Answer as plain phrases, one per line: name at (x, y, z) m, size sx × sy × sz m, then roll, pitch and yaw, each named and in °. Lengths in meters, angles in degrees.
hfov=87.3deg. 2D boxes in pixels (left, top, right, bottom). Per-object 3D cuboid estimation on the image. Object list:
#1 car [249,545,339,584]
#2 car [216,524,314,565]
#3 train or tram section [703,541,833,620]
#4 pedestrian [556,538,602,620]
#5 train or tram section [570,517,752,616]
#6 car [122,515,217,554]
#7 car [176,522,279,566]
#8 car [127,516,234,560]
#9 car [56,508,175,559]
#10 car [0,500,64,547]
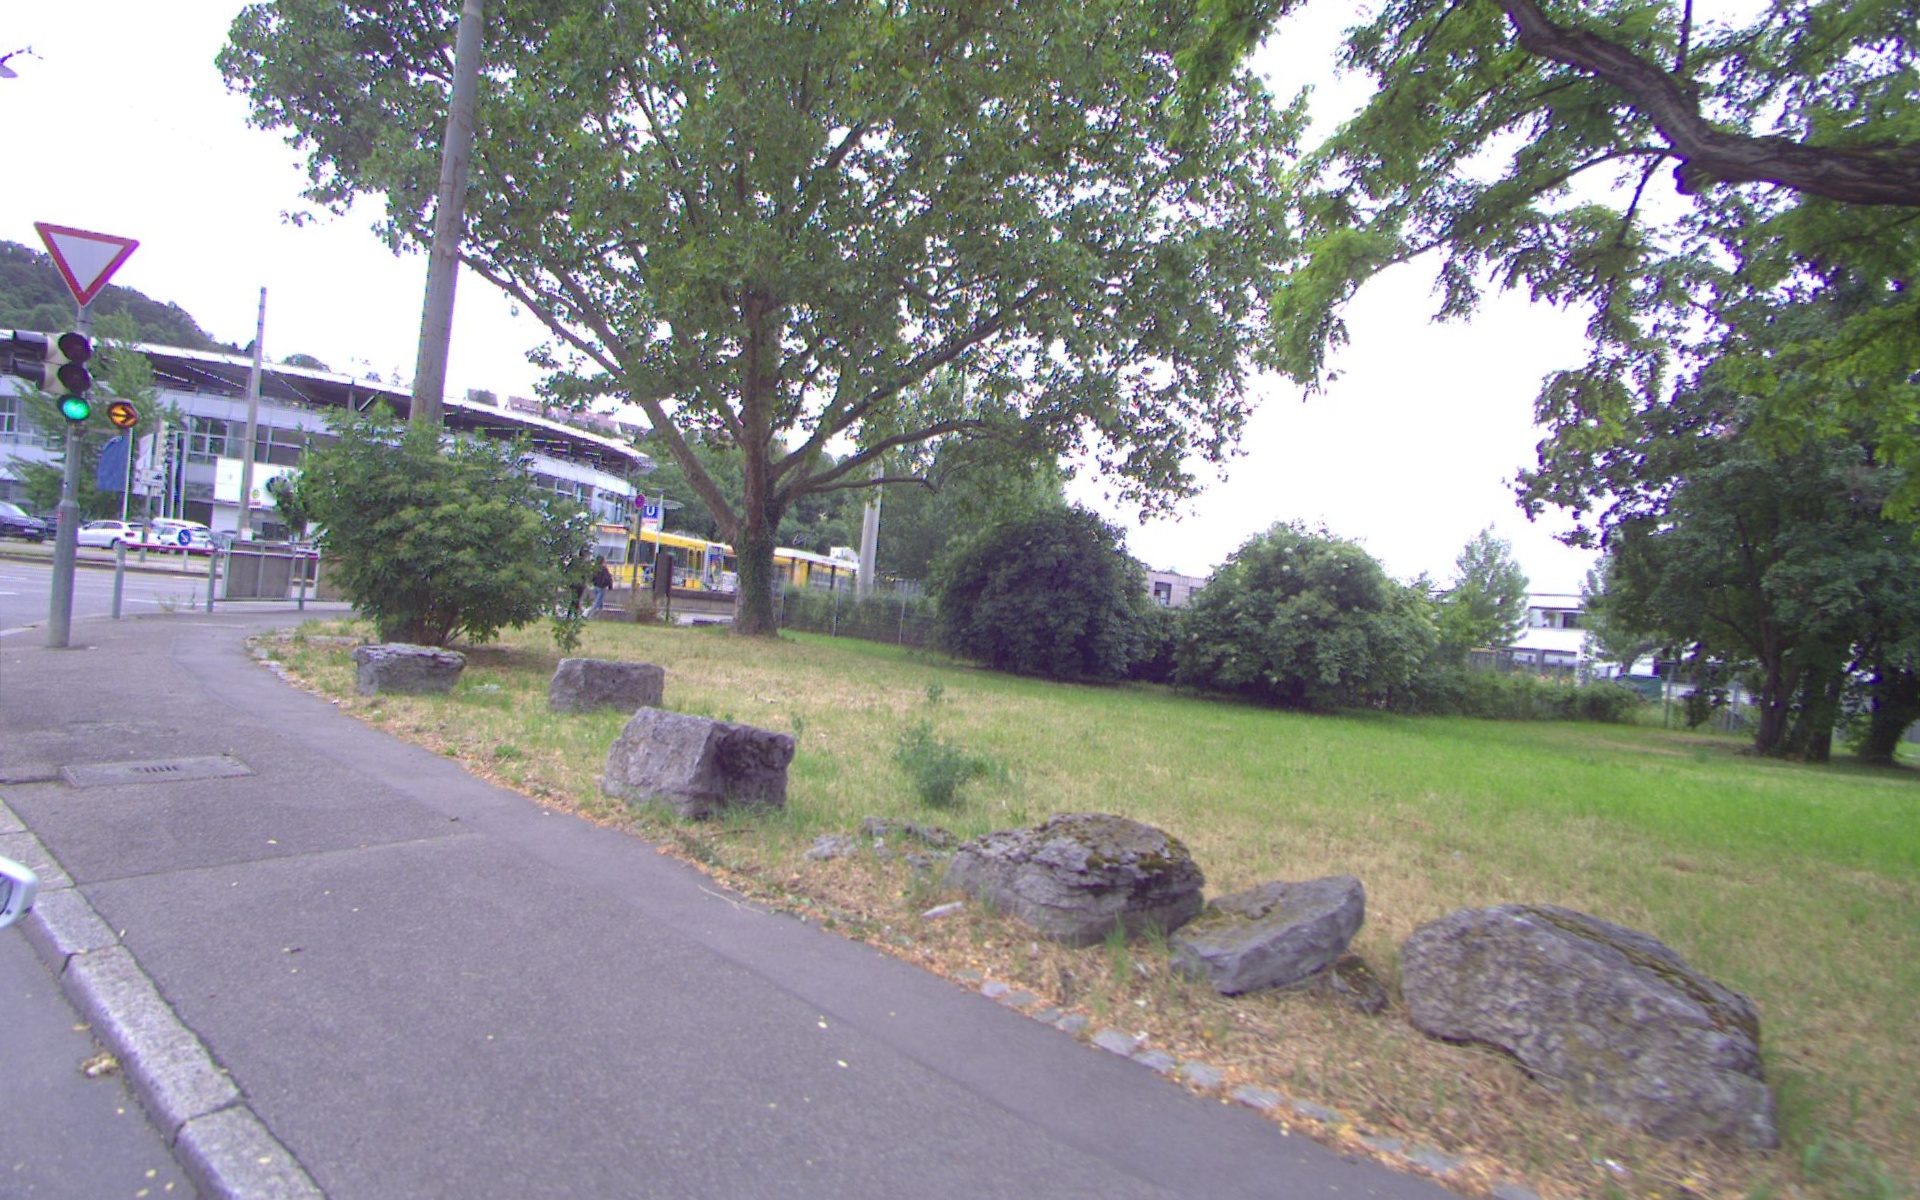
car at (-36.984, -1.966, 55.929) m, size 3.923 × 1.570 × 1.733 m, roll 6°, pitch -4°, yaw 10°
car at (-37.045, -2.941, 53.637) m, size 3.923 × 1.570 × 1.932 m, roll 6°, pitch -4°, yaw 10°
train or tram section at (-11.463, -0.997, 61.896) m, size 2.697 × 4.016 × 11.914 m, roll 6°, pitch 0°, yaw 15°
pedestrian at (-9.312, -0.507, 24.614) m, size 0.593 × 1.890 × 0.672 m, roll 6°, pitch -1°, yaw 16°
train or tram section at (-14.470, -1.402, 50.336) m, size 2.697 × 4.016 × 11.914 m, roll 6°, pitch 0°, yaw 15°
car at (-46.494, -3.865, 59.230) m, size 3.925 × 1.570 × 1.931 m, roll 7°, pitch -4°, yaw 2°
car at (-37.354, -2.845, 51.348) m, size 3.923 × 1.570 × 1.932 m, roll 6°, pitch -4°, yaw 10°
car at (-37.891, -3.006, 48.926) m, size 3.923 × 1.492 × 1.819 m, roll 6°, pitch -4°, yaw 10°
car at (-38.949, -3.055, 46.431) m, size 3.923 × 1.657 × 2.005 m, roll 6°, pitch -4°, yaw 10°
car at (-40.203, -3.339, 42.037) m, size 3.923 × 1.659 × 2.002 m, roll 6°, pitch -1°, yaw 10°
